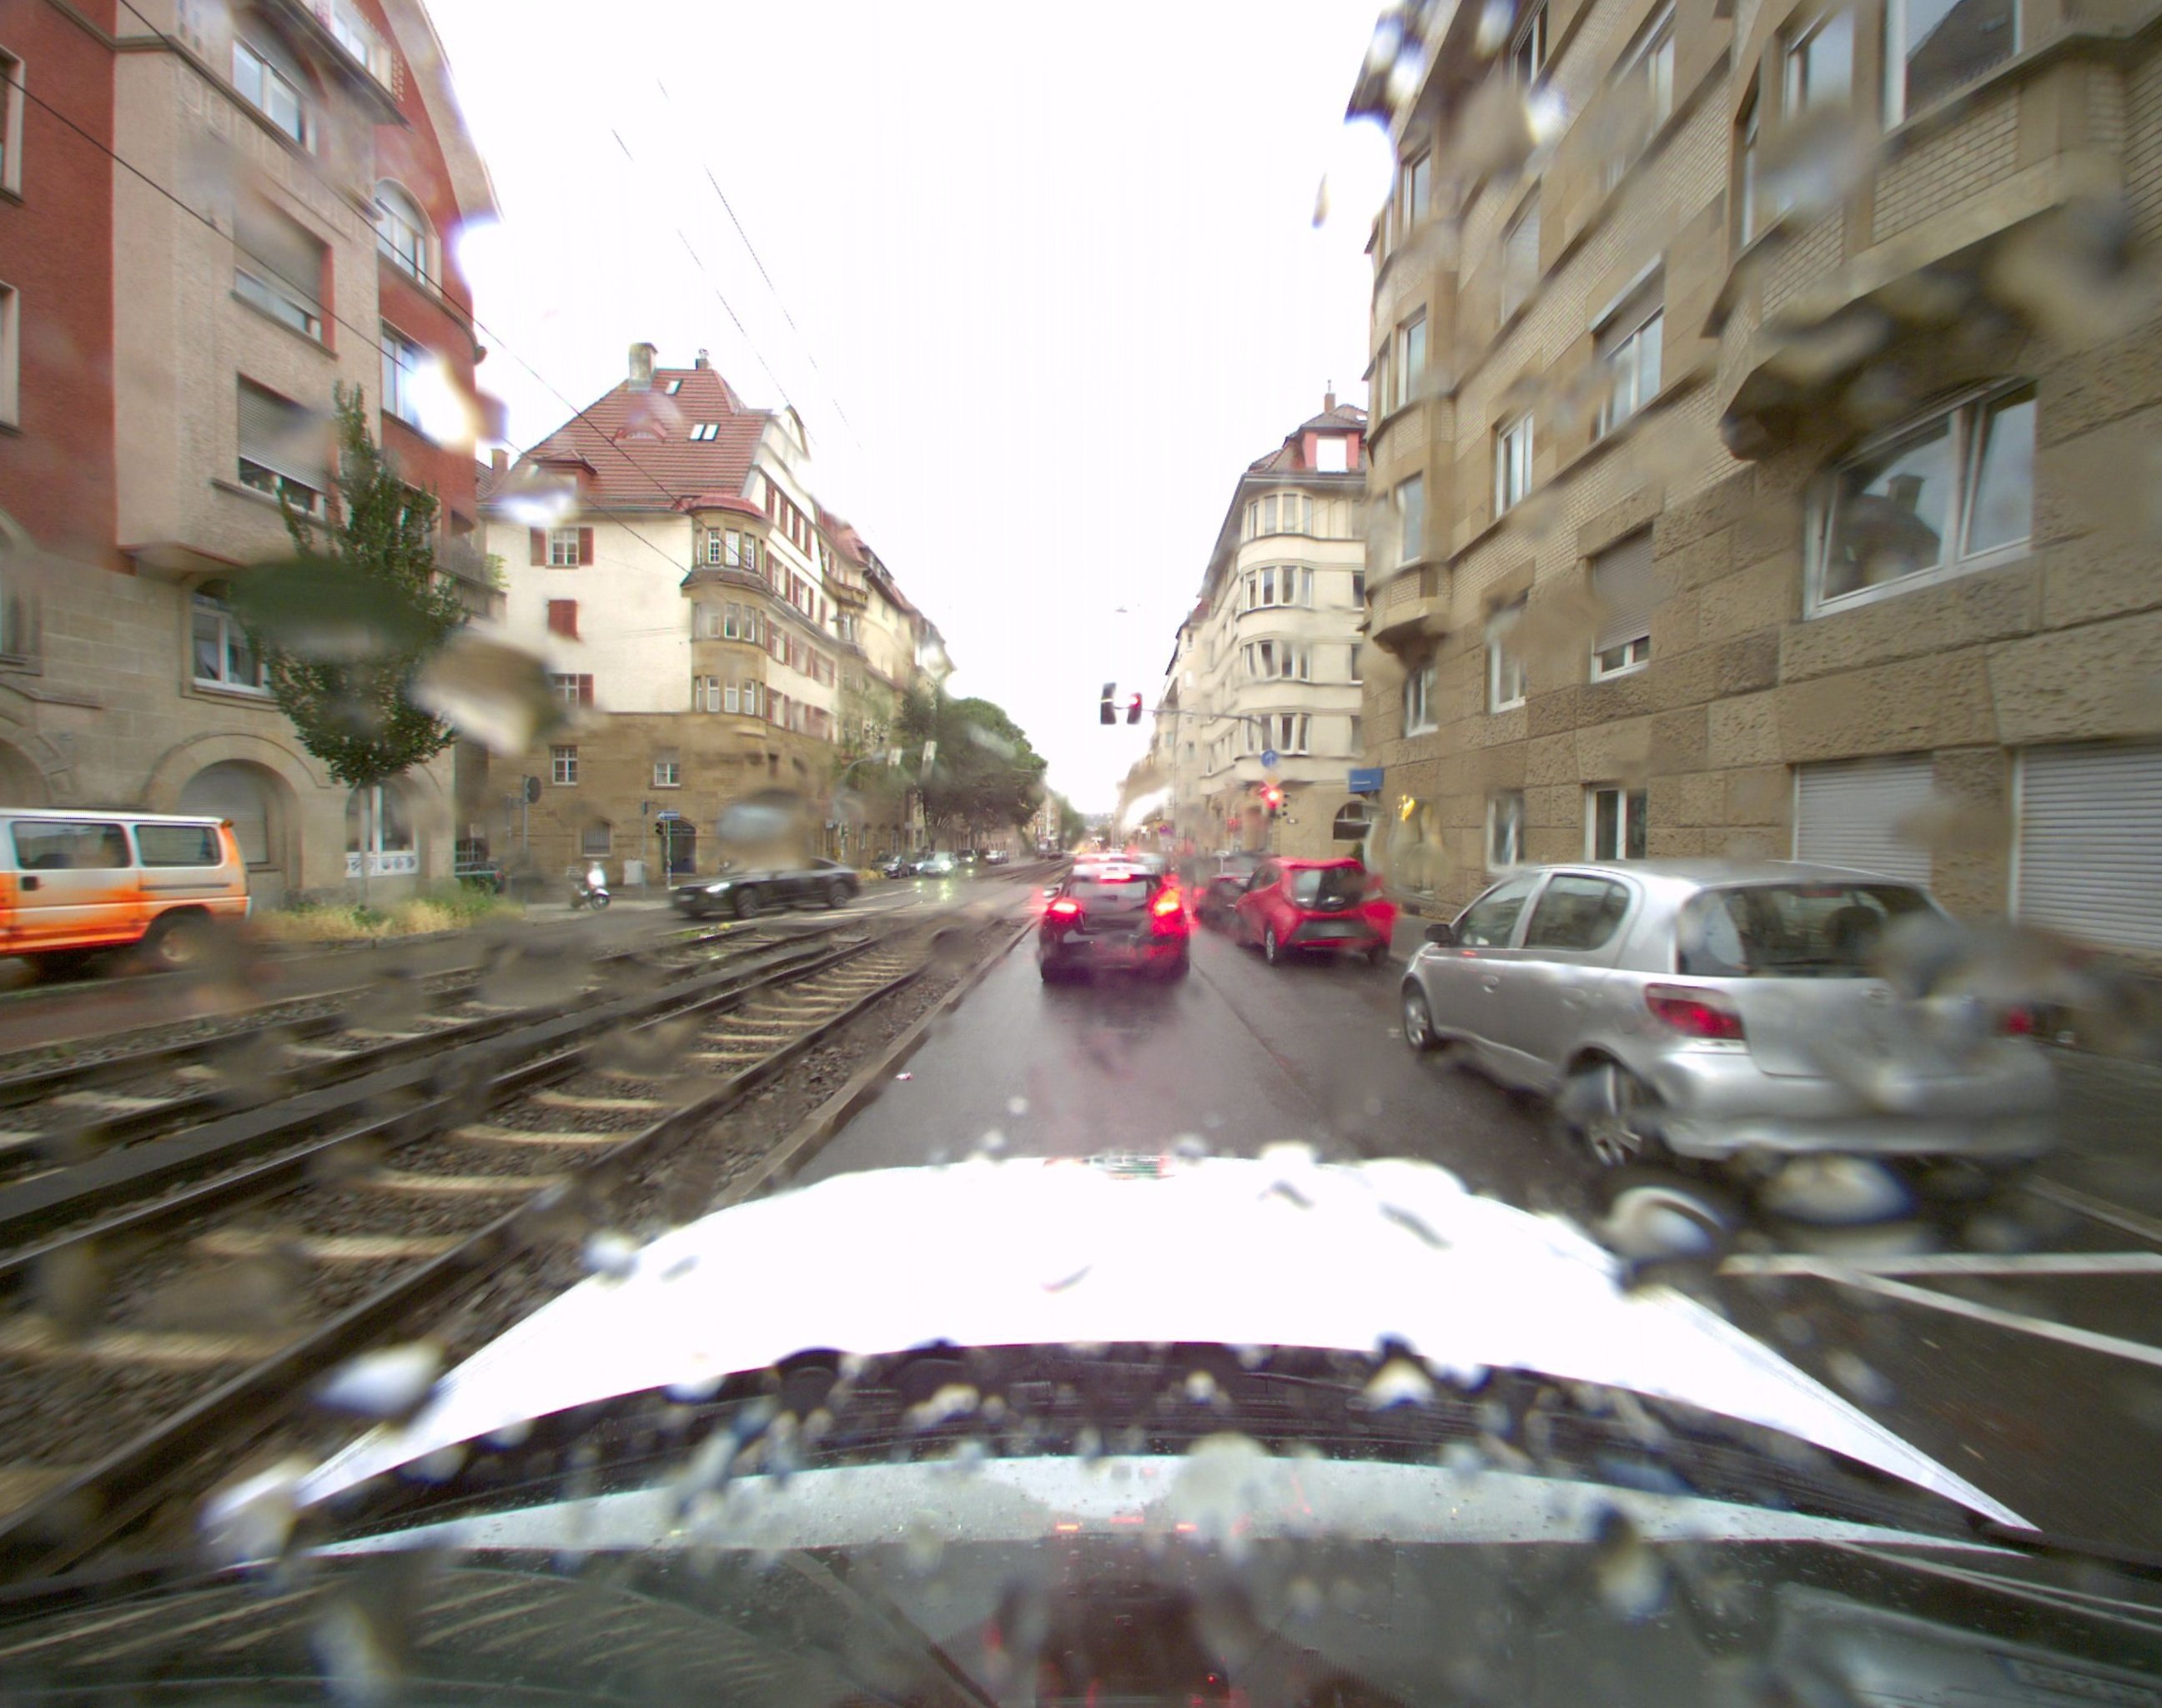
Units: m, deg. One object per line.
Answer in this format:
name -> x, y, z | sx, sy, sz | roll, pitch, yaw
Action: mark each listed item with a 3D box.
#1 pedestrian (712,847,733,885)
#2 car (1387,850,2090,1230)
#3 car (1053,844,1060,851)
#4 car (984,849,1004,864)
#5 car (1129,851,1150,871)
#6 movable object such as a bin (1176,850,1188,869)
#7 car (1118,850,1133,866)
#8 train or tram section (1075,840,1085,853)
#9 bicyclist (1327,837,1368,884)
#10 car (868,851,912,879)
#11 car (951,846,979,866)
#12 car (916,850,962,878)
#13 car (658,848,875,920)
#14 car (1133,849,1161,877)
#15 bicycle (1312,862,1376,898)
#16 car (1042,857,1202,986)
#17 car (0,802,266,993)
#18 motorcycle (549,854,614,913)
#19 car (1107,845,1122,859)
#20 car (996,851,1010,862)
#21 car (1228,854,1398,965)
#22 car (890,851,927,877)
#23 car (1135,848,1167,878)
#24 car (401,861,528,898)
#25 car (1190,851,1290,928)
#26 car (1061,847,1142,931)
pedestrian -> -15.877, 0.544, 36.059 | 0.706, 1.672, 0.626 | 0, -1, -36
car -> 3.206, 0.740, 4.871 | 1.608, 1.467, 3.314 | -2, 0, 3
car -> -4.996, -1.315, 164.715 | 1.372, 1.249, 3.297 | 0, -1, 0
car -> -9.741, 0.301, 91.379 | 1.583, 1.581, 3.920 | 0, -1, 2
car -> 4.519, 0.528, 63.354 | 1.539, 1.486, 3.549 | 0, 0, 2
movable object such as a bin -> 7.576, 0.424, 61.324 | 0.873, 1.389, 0.984 | 0, -1, 5
car -> 4.139, 0.403, 75.445 | 1.289, 1.442, 2.930 | 0, 0, 2
train or tram section -> -0.240, -2.209, 247.294 | 2.772, 3.861, 10.433 | 0, -1, 2
bicyclist -> 9.211, 0.217, 28.179 | 1.241, 1.597, 0.890 | -1, -1, 11
car -> -11.163, 0.633, 47.899 | 1.747, 1.552, 4.033 | 0, -1, -2
car -> -10.484, 0.208, 73.922 | 1.868, 1.737, 3.920 | 0, -1, 2
car -> -8.178, 0.575, 47.211 | 1.891, 1.588, 3.974 | 0, -1, 2
car -> -7.473, 0.634, 19.971 | 1.786, 1.523, 4.994 | 0, 0, 28
car -> 3.935, 0.525, 48.947 | 1.539, 1.590, 3.549 | 0, 0, 2
bicycle -> 9.075, 0.894, 28.209 | 2.017, 1.186, 0.829 | -1, -1, 11
car -> 0.531, 0.779, 11.337 | 1.822, 1.458, 4.105 | 0, 0, 2
car -> -12.059, 0.461, 8.992 | 1.725, 1.975, 4.342 | 0, -1, 0
motorcycle -> -11.996, 0.704, 19.549 | 1.577, 1.365, 0.628 | -1, -1, 28
car -> 4.538, -0.241, 109.785 | 1.986, 1.876, 4.001 | 0, -1, 2
car -> -9.664, 0.289, 100.795 | 1.443, 1.331, 3.271 | 0, -1, 0
car -> 3.342, 0.733, 12.336 | 1.637, 1.448, 3.298 | 0, 0, -1
car -> -11.190, 0.639, 52.934 | 1.713, 1.611, 3.914 | 0, -1, -3
car -> 3.791, 0.481, 44.472 | 1.539, 1.590, 3.549 | 0, 0, 2
car -> -24.304, 0.998, 32.201 | 3.632, 1.404, 1.699 | 0, -1, -3
car -> 3.312, 0.688, 17.580 | 1.539, 1.486, 3.831 | 0, 0, 2
car -> 0.462, 0.698, 17.732 | 1.559, 1.609, 3.815 | 0, -1, 2
